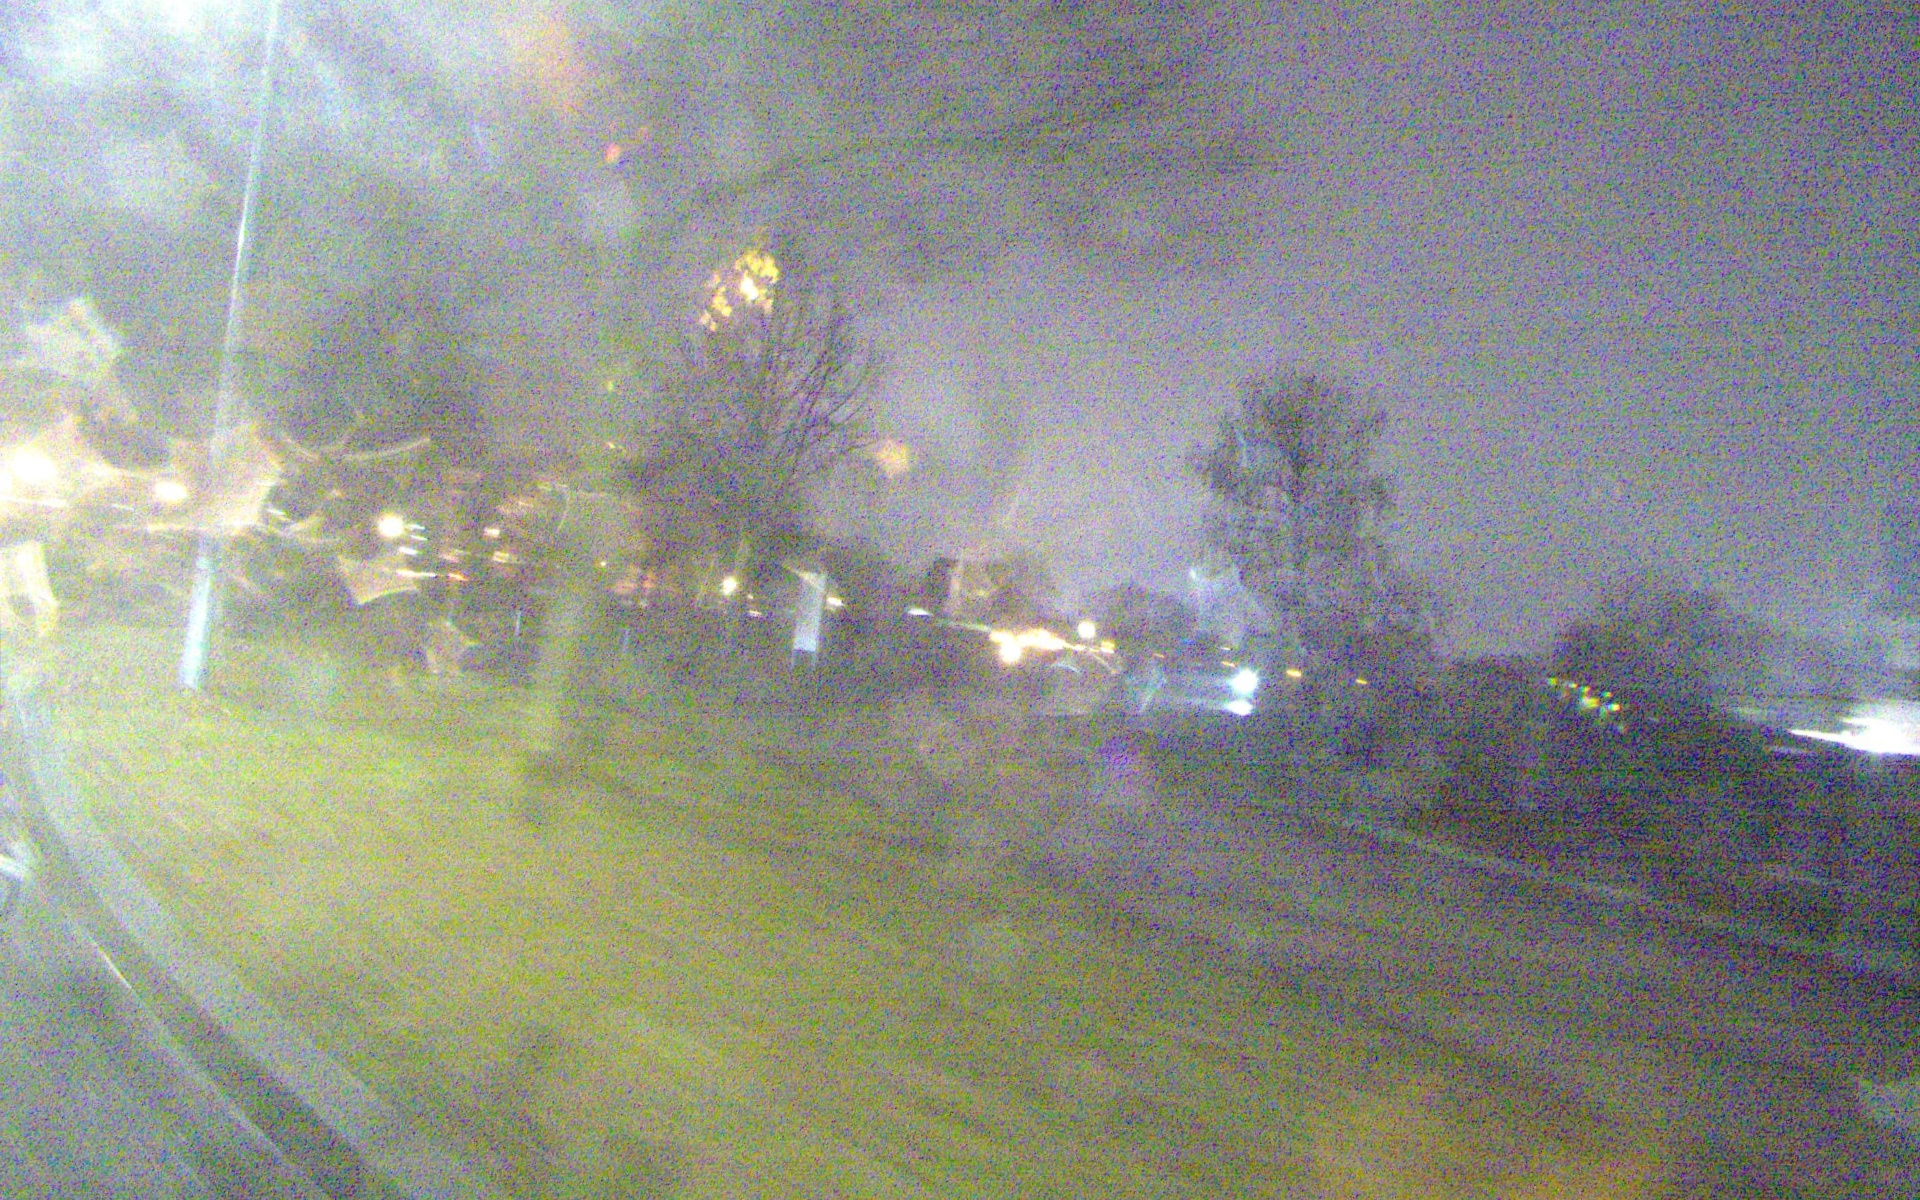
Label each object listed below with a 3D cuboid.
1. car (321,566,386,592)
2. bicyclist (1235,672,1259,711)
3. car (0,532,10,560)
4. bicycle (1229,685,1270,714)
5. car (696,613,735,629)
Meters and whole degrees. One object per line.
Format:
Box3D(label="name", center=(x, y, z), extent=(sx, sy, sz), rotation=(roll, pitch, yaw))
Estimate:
Box3D(label="car", center=(-48.588, -1.694, 80.616), extent=(4.903, 1.553, 1.724), rotation=(5, -3, 21))
Box3D(label="bicyclist", center=(11.432, 3.626, 40.030), extent=(0.608, 1.463, 0.603), rotation=(4, -3, 41))
Box3D(label="car", center=(-56.955, -3.321, 57.914), extent=(3.840, 1.553, 1.724), rotation=(5, -3, 21))
Box3D(label="bicycle", center=(11.541, 3.969, 40.067), extent=(0.612, 0.987, 2.415), rotation=(4, -4, 39))
Box3D(label="car", center=(-29.120, 2.509, 119.854), extent=(4.073, 1.389, 1.724), rotation=(5, -3, 21))
